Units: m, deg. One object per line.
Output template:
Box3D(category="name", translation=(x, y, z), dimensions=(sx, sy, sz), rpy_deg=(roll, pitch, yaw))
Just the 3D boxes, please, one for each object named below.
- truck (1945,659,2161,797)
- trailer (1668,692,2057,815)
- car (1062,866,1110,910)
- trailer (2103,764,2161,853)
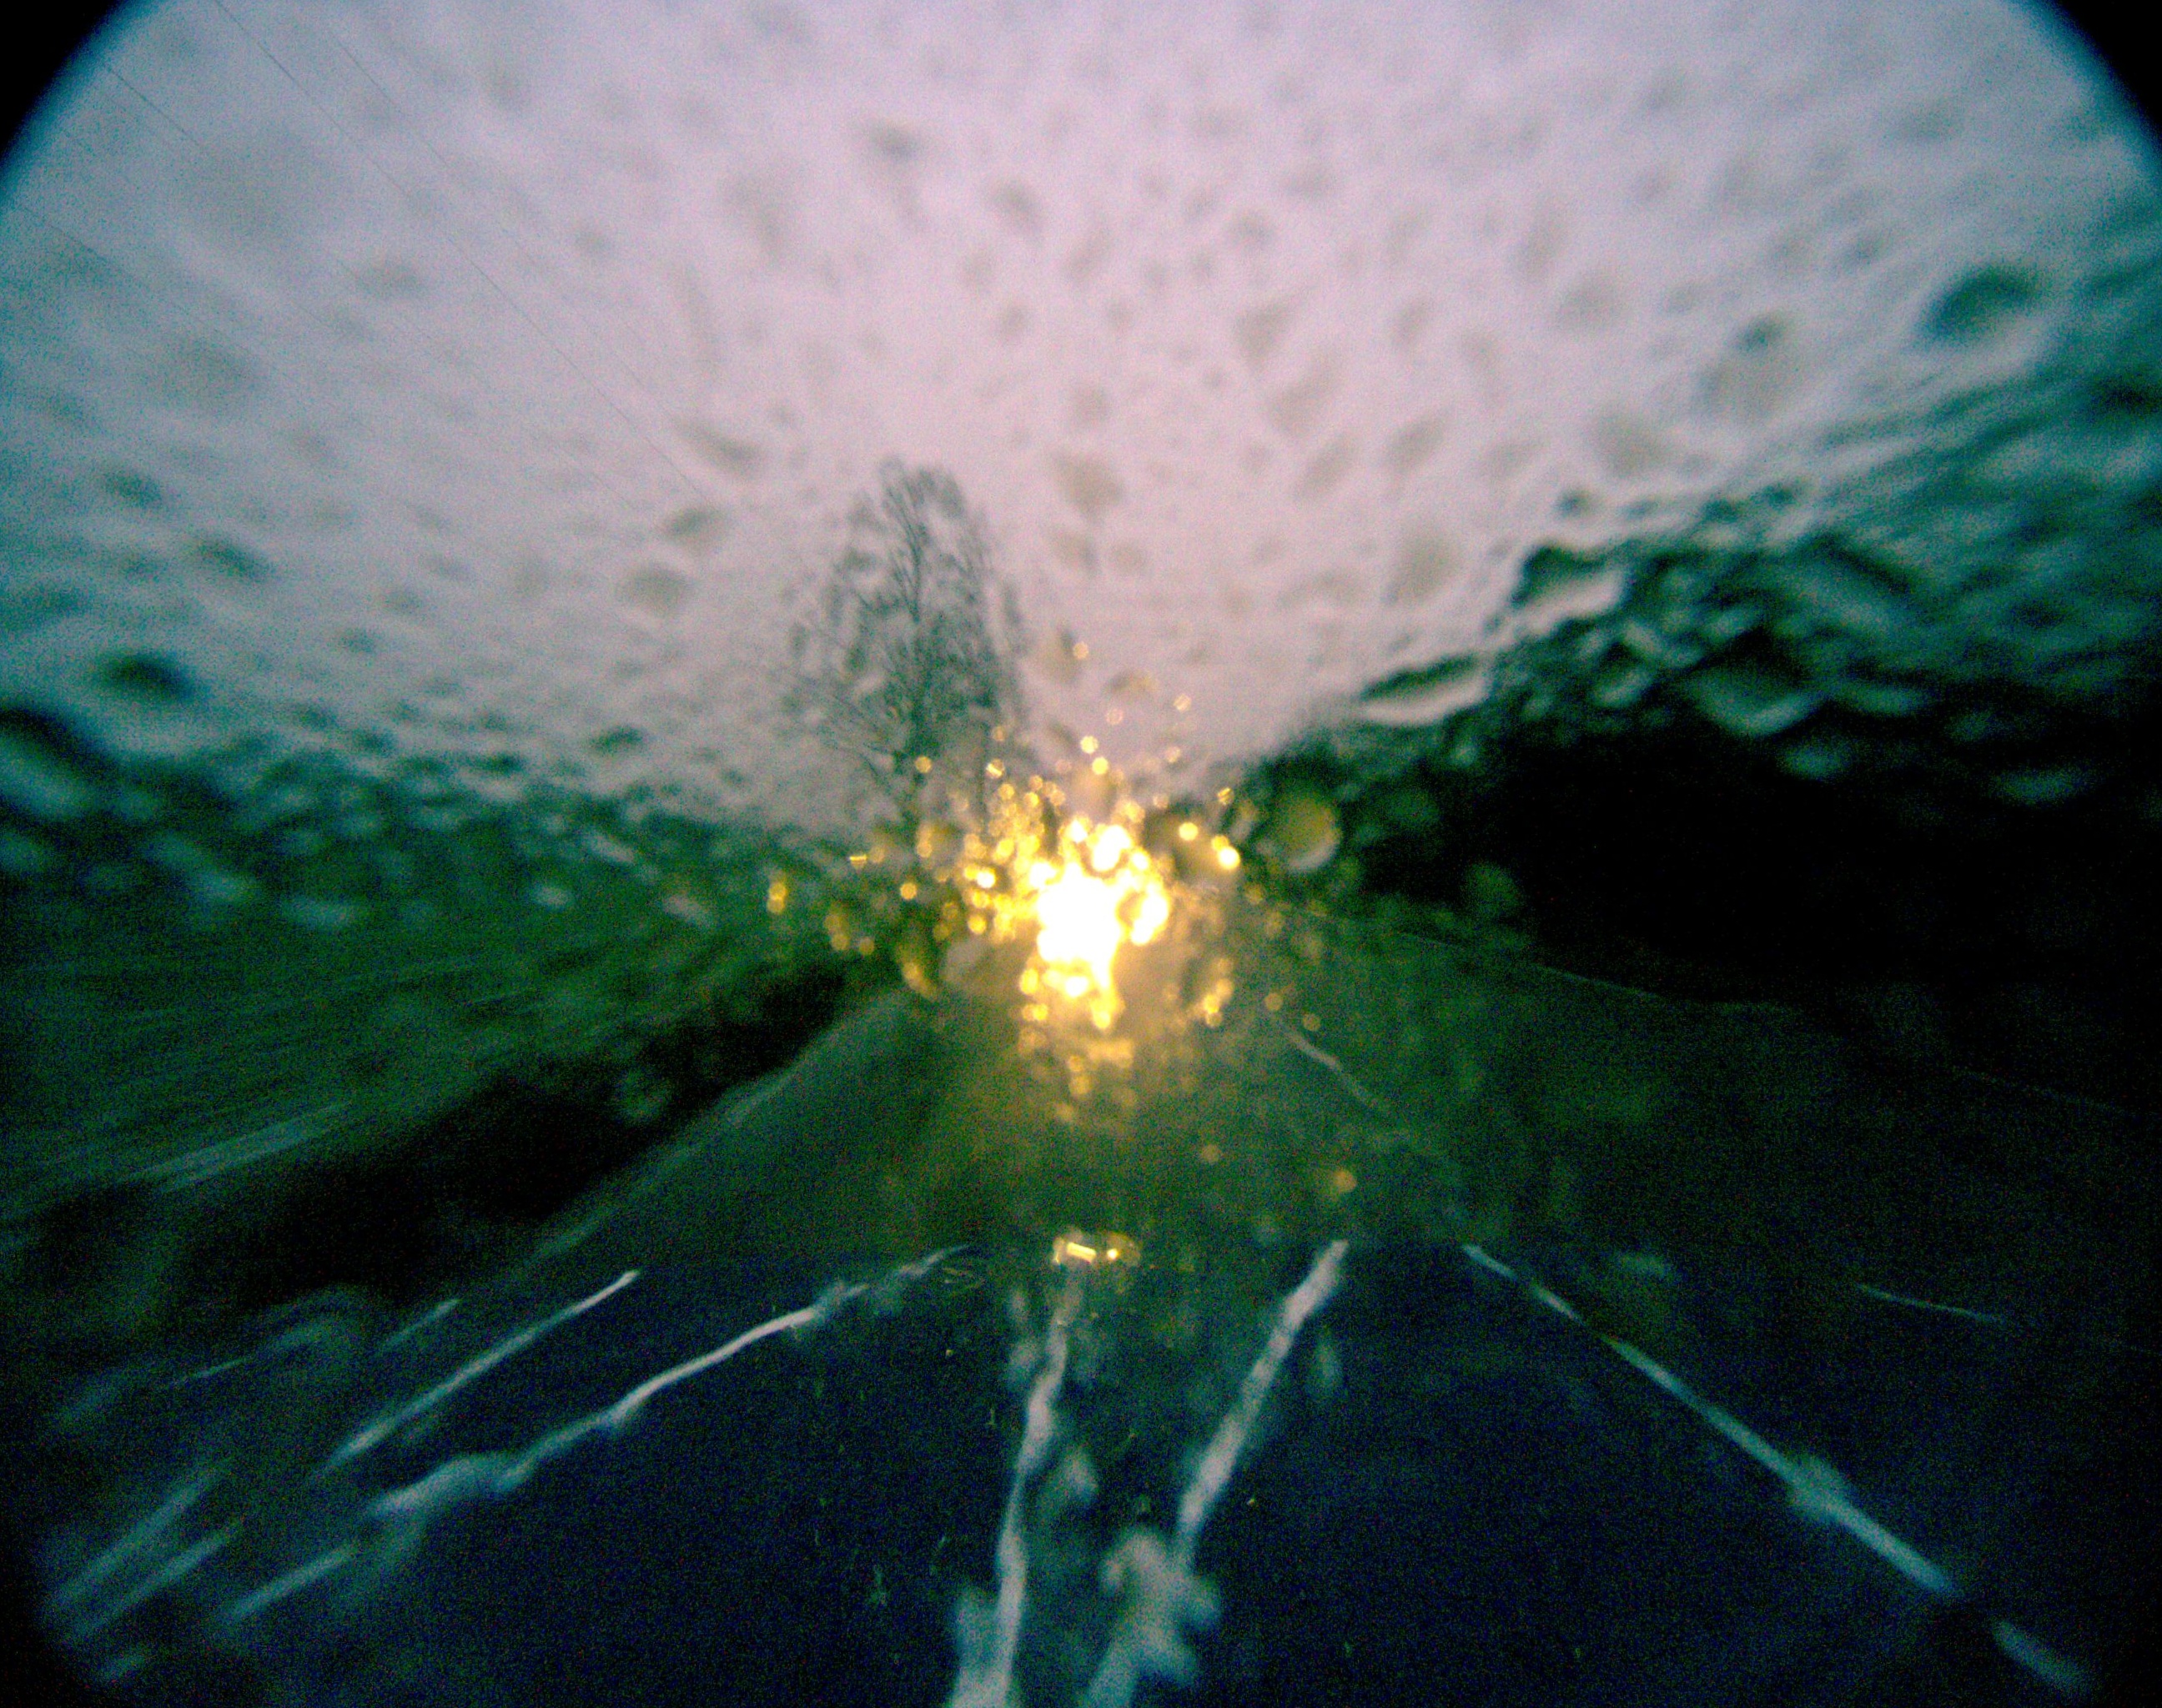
Box3D(category="truck", translation=(26.241, -3.089, 19.212), dimensions=(2.456, 2.870, 5.583), rpy_deg=(-1, 0, 0))
Box3D(category="trailer", translation=(26.304, -3.128, 26.943), dimensions=(2.442, 2.874, 11.085), rpy_deg=(-1, 0, 0))
Box3D(category="car", translation=(0.276, 1.439, 33.434), dimensions=(1.910, 1.653, 4.000), rpy_deg=(-3, 0, 2))
Box3D(category="trailer", translation=(30.627, -1.227, 16.132), dimensions=(2.515, 2.410, 11.501), rpy_deg=(0, 0, 1))
